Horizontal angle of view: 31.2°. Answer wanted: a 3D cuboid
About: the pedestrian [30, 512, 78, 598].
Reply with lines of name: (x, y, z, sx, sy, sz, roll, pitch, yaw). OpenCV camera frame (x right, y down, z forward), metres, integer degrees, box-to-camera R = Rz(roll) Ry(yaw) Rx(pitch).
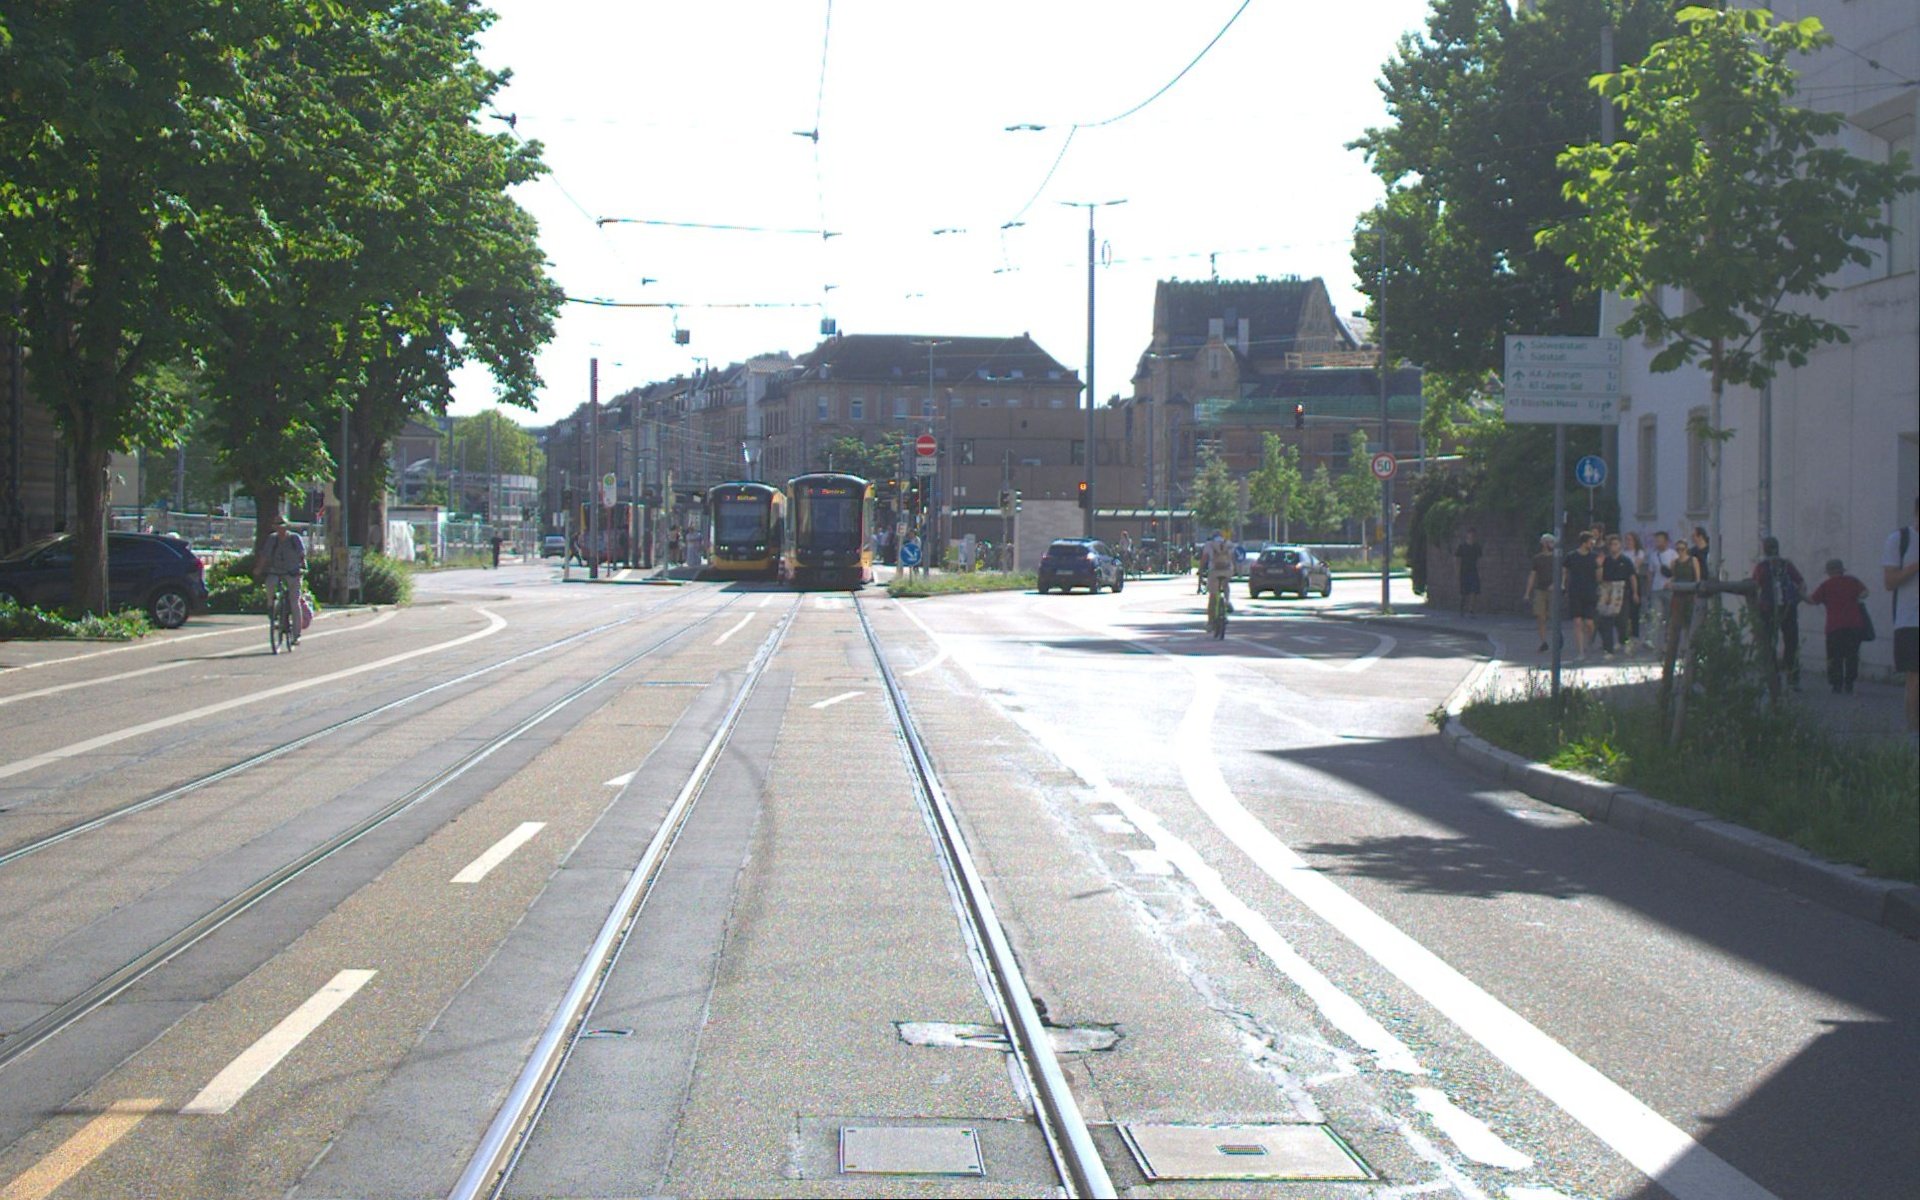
pedestrian: (-17.528, -0.877, 66.525, 0.700, 1.629, 0.759, 3, 1, -2)

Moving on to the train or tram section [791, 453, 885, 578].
train or tram section: (-3.897, -2.651, 107.423, 2.742, 3.639, 13.788, 0, 2, -3)

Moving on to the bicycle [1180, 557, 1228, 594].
bicycle: (7.380, -0.739, 104.008, 0.706, 1.051, 2.311, 3, 2, 23)

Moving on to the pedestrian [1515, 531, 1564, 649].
pedestrian: (8.749, -0.162, 51.927, 0.606, 1.740, 0.718, -3, 1, 6)

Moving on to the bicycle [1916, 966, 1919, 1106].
bicycle: (3.099, 0.915, 8.696, 0.738, 1.090, 2.111, 2, 1, 0)

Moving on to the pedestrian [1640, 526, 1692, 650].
pedestrian: (10.467, -0.183, 50.957, 0.610, 1.768, 0.652, -4, 1, 14)

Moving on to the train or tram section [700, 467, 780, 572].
train or tram section: (-8.080, -3.005, 127.378, 2.742, 3.639, 13.788, 0, 2, -3)

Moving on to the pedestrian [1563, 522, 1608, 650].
pedestrian: (9.407, -0.217, 51.712, 0.518, 1.896, 0.611, -3, 1, 6)

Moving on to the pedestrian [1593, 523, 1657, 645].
pedestrian: (9.935, -0.242, 51.363, 0.529, 1.768, 0.734, -4, 1, 39)

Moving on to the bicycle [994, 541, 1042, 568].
bicycle: (2.421, -1.899, 143.880, 1.933, 1.099, 0.599, 0, 1, -4)

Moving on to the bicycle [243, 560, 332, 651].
bicycle: (-8.740, 0.063, 44.756, 0.686, 1.120, 1.931, -2, 1, 2)

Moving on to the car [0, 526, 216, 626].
car: (-14.200, -0.388, 55.260, 3.986, 1.544, 1.878, 1, 1, -29)

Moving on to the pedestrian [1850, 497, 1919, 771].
pedestrian: (6.628, 0.215, 23.671, 0.683, 1.843, 0.955, -1, 1, -3)

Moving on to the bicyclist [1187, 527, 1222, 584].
bicyclist: (7.397, -1.351, 103.969, 0.706, 1.694, 0.986, 3, 2, 23)

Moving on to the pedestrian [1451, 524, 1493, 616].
pedestrian: (10.784, -0.637, 72.419, 0.637, 1.897, 1.134, -2, 1, -1)

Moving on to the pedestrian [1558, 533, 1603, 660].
pedestrian: (8.712, -0.056, 48.269, 0.495, 1.722, 0.816, -4, 1, 10)

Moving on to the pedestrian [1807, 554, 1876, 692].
pedestrian: (9.014, 0.227, 35.164, 0.518, 1.399, 0.764, 0, 1, 1)

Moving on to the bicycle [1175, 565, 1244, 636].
bicycle: (4.077, -0.004, 56.075, 0.705, 1.101, 1.716, 2, 2, 18)

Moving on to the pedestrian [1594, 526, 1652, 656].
pedestrian: (9.328, -0.135, 48.346, 0.648, 1.757, 0.955, -4, 1, 13)

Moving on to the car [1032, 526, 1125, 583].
car: (3.501, -1.354, 101.099, 1.790, 1.599, 3.710, 2, 2, 17)

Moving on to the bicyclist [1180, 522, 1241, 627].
bicyclist: (4.088, -0.427, 56.063, 0.705, 1.669, 1.100, 2, 2, 18)

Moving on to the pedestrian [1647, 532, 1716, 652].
pedestrian: (10.153, -0.116, 48.376, 0.829, 1.599, 0.893, -4, 1, 13)

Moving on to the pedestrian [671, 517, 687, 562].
pedestrian: (-11.420, -2.456, 139.925, 0.626, 1.821, 0.662, 0, 1, -3)

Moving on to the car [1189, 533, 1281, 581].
car: (9.949, -1.549, 124.040, 1.705, 1.638, 3.705, 2, 2, 33)

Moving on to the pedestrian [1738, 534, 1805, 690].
pedestrian: (8.350, 0.115, 35.382, 0.518, 1.595, 0.764, 0, 1, 1)

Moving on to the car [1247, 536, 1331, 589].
car: (9.802, -1.131, 102.349, 1.790, 1.506, 3.710, 2, 2, 16)

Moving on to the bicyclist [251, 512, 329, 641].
bicyclist: (-8.746, -0.317, 44.891, 0.686, 1.639, 1.237, -2, 1, 2)

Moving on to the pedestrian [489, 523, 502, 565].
pedestrian: (-21.955, -2.657, 162.594, 0.525, 2.007, 0.522, 0, 1, 3)

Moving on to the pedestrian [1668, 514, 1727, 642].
pedestrian: (10.637, -0.328, 49.614, 0.657, 1.796, 0.731, -3, 1, 6)
